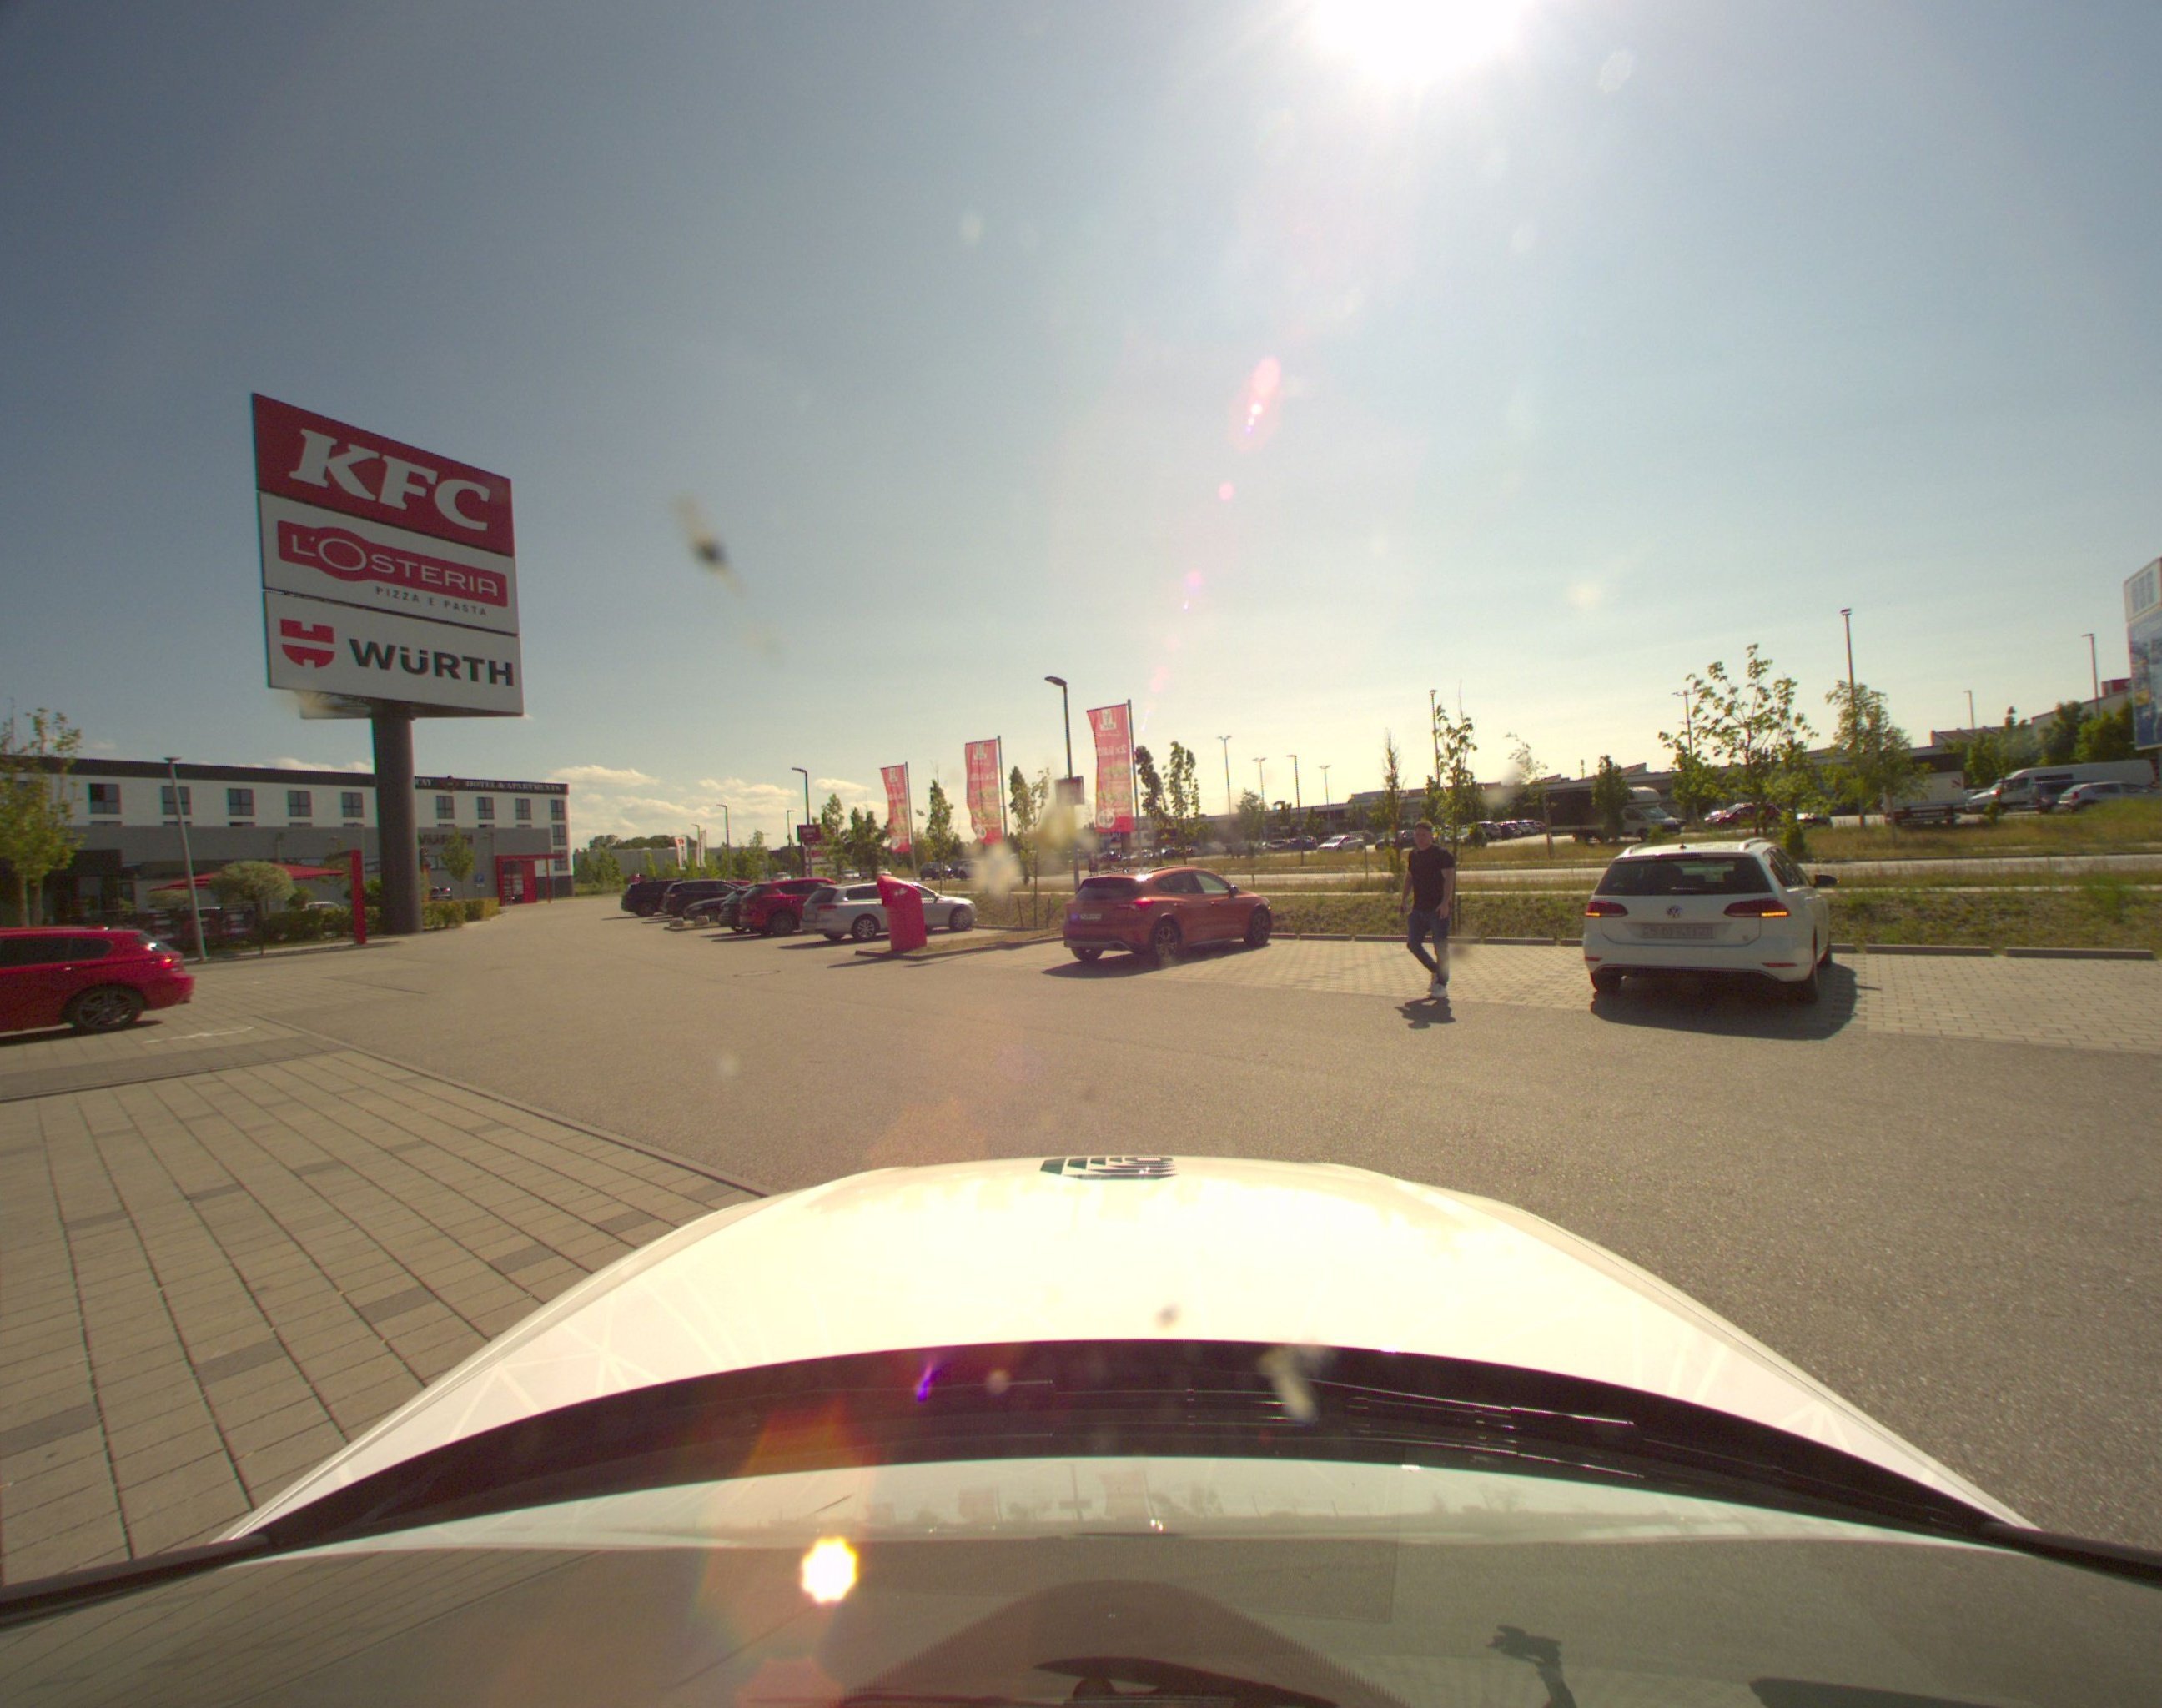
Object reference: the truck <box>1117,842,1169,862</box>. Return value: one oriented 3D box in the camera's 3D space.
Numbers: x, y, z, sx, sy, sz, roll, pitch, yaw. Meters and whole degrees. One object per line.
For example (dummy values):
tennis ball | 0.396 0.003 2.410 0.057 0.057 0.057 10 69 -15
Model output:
truck | 6.683 -0.190 87.982 5.455 1.863 1.979 -3 0 -34

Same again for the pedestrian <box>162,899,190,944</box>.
pedestrian | -31.911 2.377 28.721 0.561 1.505 0.529 -3 0 34

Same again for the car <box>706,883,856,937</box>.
car | -9.802 1.774 26.773 4.230 1.410 1.752 -2 -1 -43

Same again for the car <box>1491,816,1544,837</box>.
car | 43.800 -2.733 81.697 4.347 1.855 1.968 -3 0 37

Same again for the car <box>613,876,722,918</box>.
car | -20.827 2.143 41.089 4.610 1.760 1.875 -2 -1 -36

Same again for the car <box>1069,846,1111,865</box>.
car | 1.114 0.119 99.426 5.209 2.013 1.975 -3 0 -44

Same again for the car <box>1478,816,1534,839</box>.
car | 40.142 -2.502 76.938 4.347 1.855 1.968 -3 0 37

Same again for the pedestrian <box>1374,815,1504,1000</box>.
pedestrian | 3.722 0.545 8.543 0.986 1.809 0.727 -3 -1 7

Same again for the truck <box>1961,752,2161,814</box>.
truck | 55.509 -3.941 46.412 6.966 2.814 1.968 -3 0 37

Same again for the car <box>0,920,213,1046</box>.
car | -14.425 1.732 10.336 1.718 1.413 4.430 -3 -1 35

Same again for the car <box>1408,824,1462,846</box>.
car | 34.444 -1.854 79.271 4.347 1.855 1.968 -3 0 37

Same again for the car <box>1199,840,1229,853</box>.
car | 17.771 -0.974 108.617 3.431 1.552 1.677 -3 0 32

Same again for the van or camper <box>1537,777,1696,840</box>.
van or camper | 31.547 -2.578 48.450 2.419 3.101 8.002 -3 0 -19

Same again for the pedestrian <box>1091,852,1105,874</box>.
pedestrian | 1.296 0.675 61.333 0.694 1.599 0.750 -3 0 -27

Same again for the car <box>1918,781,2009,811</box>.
car | 67.254 -4.389 62.174 4.347 1.855 1.968 -3 0 37

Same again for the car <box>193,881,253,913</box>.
car | -40.673 2.044 38.587 3.791 1.308 1.658 -4 0 40

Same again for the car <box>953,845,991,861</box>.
car | -15.304 -0.169 114.592 5.106 2.013 1.975 -3 0 -44

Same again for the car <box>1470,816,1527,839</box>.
car | 38.558 -2.404 75.171 4.347 1.855 1.968 -3 0 37

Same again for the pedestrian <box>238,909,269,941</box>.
pedestrian | -32.958 2.825 32.449 0.477 1.185 0.653 -3 0 12

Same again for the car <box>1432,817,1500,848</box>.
car | 26.127 -1.430 55.238 4.418 1.855 1.937 -3 0 -30

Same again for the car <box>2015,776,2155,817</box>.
car | 54.046 -3.054 43.970 4.347 1.855 1.968 -3 0 37

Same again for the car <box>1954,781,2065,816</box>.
car | 59.584 -3.524 52.377 4.347 1.855 1.968 -3 0 37

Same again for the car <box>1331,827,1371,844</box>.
car | 34.610 -2.376 104.534 4.347 1.855 1.968 -3 0 37

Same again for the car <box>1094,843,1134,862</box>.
car | 3.826 -0.207 94.907 4.103 2.013 1.981 -3 0 -30

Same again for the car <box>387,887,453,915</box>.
car | -49.572 3.532 61.040 4.816 1.880 2.091 -3 0 29

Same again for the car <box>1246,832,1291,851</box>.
car | 23.226 -1.534 100.884 4.868 2.013 2.096 -3 0 33

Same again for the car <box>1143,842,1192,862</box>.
car | 8.896 -0.212 83.359 4.751 1.846 1.979 -3 0 -33

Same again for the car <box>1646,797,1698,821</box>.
car | 58.615 -4.453 80.741 3.948 2.013 2.013 -3 0 40

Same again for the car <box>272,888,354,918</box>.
car | -44.908 2.864 47.627 4.322 1.530 1.965 -3 0 25

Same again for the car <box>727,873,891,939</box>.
car | -8.199 1.510 24.723 4.254 1.638 1.927 -2 -1 -41

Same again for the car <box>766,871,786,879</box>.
car | -69.346 4.807 185.162 1.882 1.658 3.984 -3 0 30

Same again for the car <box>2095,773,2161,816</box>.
car | 50.073 -2.793 37.165 4.347 1.855 1.968 -3 0 37

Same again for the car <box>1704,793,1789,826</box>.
car | 44.137 -2.950 54.122 4.212 1.855 1.882 -3 0 37

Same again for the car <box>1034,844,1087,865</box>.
car | -2.588 0.089 103.194 6.345 2.237 2.784 -3 0 -40

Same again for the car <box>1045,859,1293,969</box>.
car | 1.641 0.920 13.950 1.810 1.469 4.379 -4 -1 45

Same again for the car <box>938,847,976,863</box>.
car | -18.166 0.085 119.362 5.106 2.013 1.975 -3 0 -44

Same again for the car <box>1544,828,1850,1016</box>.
car | 6.687 0.529 8.626 4.507 1.469 1.810 -2 -1 -43

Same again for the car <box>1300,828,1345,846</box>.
car | 27.771 -1.932 93.808 4.514 1.855 1.968 -3 0 37

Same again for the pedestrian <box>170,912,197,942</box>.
pedestrian | -38.956 3.152 35.360 0.609 1.198 0.714 -3 0 45

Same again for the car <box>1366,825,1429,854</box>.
car | 23.237 -1.054 59.736 4.418 1.855 1.937 -3 0 -30

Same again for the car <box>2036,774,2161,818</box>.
car | 50.709 -2.846 40.132 4.347 1.855 1.968 -3 0 37

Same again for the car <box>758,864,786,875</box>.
car | -48.317 2.412 127.493 1.692 1.597 3.691 -3 0 38

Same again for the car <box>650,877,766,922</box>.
car | -16.740 2.012 36.652 4.356 1.703 1.873 -2 -1 -41

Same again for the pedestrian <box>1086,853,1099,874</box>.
pedestrian | 0.888 0.705 62.173 0.627 1.556 0.661 -3 0 -27

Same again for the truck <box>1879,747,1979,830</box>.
truck | 40.801 -3.053 39.373 2.733 3.480 6.875 -3 0 42

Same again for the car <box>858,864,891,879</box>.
car | -22.766 1.989 89.656 2.008 1.504 4.607 -3 0 -34

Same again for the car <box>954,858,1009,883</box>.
car | -8.129 1.372 66.391 4.351 1.845 2.012 -3 0 43

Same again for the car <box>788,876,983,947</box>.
car | -4.974 1.415 21.135 4.626 1.413 1.719 -2 -1 -41

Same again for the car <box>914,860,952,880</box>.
car | -13.753 1.515 75.509 1.886 1.664 4.556 -3 0 -32

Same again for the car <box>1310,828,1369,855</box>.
car | 20.295 -0.965 63.943 4.299 1.855 1.981 -3 0 -30

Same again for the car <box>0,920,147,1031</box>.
car | -16.918 1.899 12.034 1.718 1.506 3.934 -3 -1 36

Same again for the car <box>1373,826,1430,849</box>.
car | 28.781 -1.495 73.253 4.347 1.855 1.968 -3 0 37

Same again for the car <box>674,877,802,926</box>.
car | -13.891 1.871 33.067 4.469 1.638 1.875 -2 -1 -34

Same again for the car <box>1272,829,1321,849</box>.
car | 23.035 -1.629 87.128 4.514 1.855 1.968 -3 0 37

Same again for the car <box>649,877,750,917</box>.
car | -18.377 2.029 39.314 4.101 1.609 1.874 -2 0 -37

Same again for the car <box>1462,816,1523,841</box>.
car | 35.857 -2.230 71.030 4.347 1.855 1.968 -3 0 37

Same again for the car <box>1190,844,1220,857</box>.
car | 16.204 -0.449 106.264 3.431 1.552 1.677 -3 0 32

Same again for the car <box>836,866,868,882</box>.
car | -24.110 2.096 85.748 2.007 1.526 4.610 -3 0 -32

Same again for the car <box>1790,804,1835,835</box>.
car | 38.131 -1.820 42.502 1.634 1.459 3.991 -3 0 42
